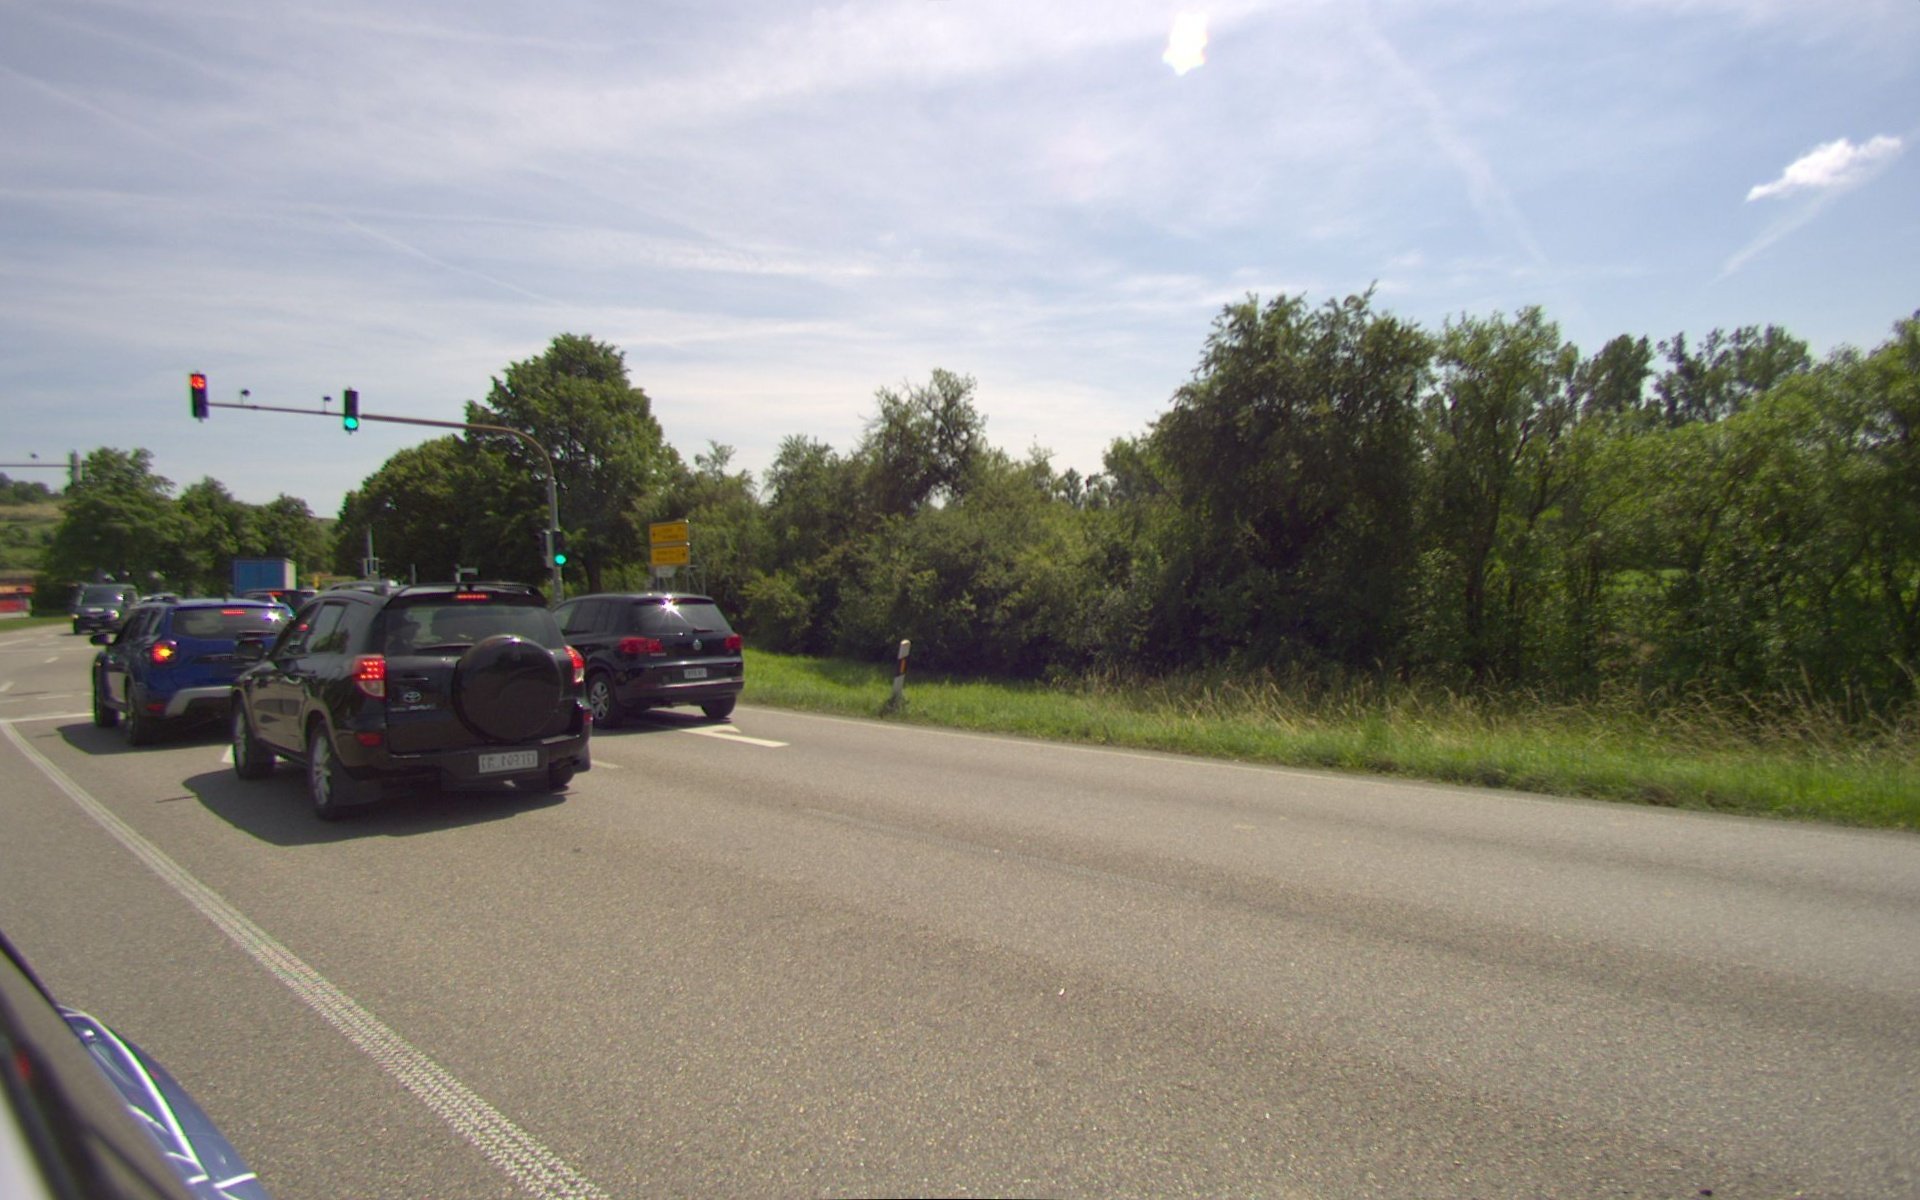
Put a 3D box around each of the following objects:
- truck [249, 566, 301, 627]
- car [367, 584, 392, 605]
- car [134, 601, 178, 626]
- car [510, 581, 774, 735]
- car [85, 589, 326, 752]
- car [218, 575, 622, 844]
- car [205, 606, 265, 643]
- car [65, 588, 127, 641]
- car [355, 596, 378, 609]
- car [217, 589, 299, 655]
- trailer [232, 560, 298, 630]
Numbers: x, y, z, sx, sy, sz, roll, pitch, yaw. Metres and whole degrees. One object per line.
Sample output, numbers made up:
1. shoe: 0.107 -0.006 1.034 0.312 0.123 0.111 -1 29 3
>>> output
1. truck: -47.800 -0.213 70.749 2.531 4.060 6.579 -1 0 -31
2. car: -69.721 -0.646 121.630 2.022 2.470 5.286 0 0 -24
3. car: -52.851 0.864 66.610 1.754 1.504 4.170 -1 2 -32
4. car: -4.335 0.638 13.437 1.968 1.708 4.007 0 0 -40
5. car: -9.389 0.728 12.469 4.001 1.671 1.751 0 1 44
6. car: -4.567 0.670 8.287 4.001 1.671 1.751 0 1 44
7. car: -32.023 1.036 44.654 1.749 1.507 4.006 0 0 -41
8. car: -44.815 0.692 52.586 1.949 2.537 4.168 -2 2 -35
9. car: -81.939 0.331 139.737 1.779 1.746 4.012 -2 0 -17
10. car: -23.927 0.685 34.402 1.969 2.021 5.175 -2 1 -38
11. trailer: -44.457 -0.251 65.028 2.531 4.060 13.635 -1 0 -31
